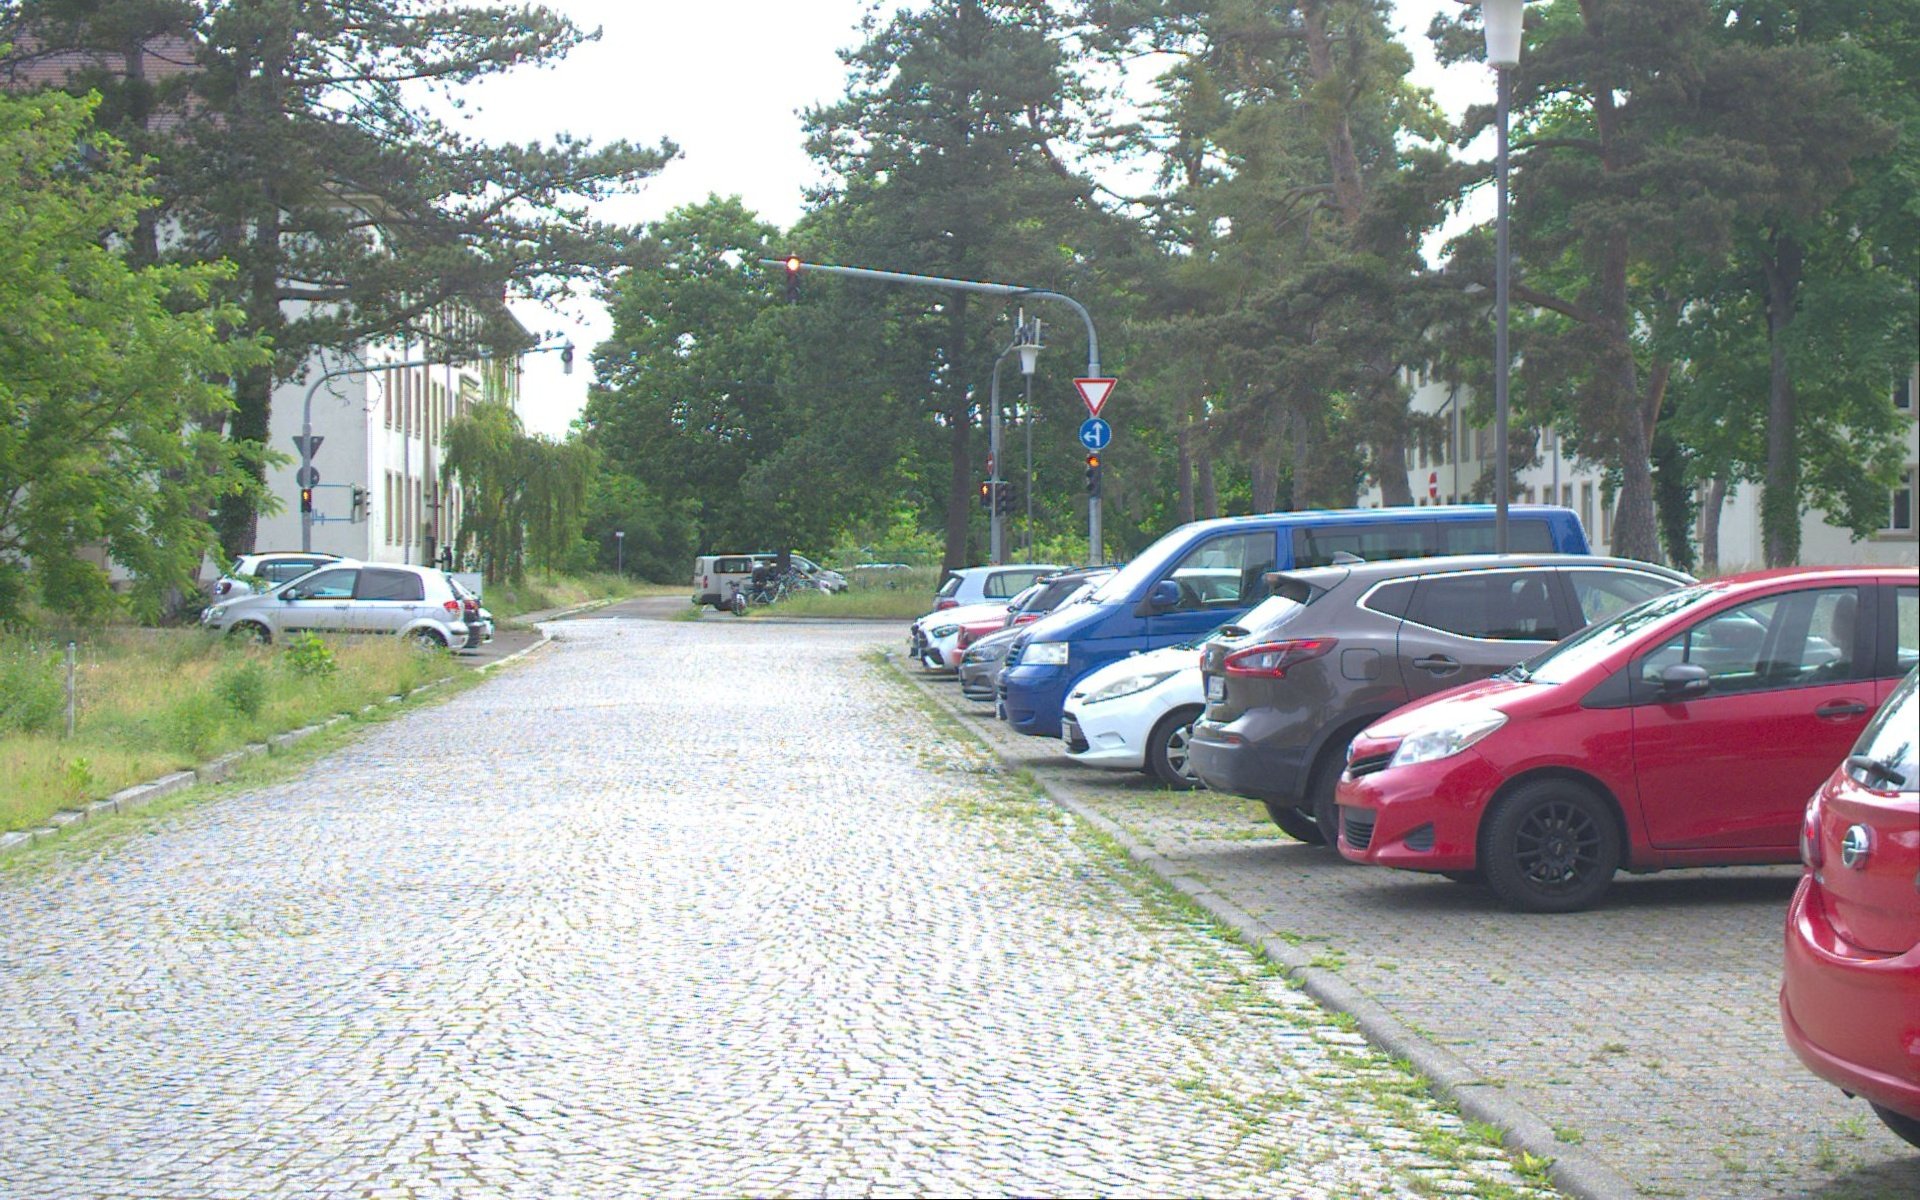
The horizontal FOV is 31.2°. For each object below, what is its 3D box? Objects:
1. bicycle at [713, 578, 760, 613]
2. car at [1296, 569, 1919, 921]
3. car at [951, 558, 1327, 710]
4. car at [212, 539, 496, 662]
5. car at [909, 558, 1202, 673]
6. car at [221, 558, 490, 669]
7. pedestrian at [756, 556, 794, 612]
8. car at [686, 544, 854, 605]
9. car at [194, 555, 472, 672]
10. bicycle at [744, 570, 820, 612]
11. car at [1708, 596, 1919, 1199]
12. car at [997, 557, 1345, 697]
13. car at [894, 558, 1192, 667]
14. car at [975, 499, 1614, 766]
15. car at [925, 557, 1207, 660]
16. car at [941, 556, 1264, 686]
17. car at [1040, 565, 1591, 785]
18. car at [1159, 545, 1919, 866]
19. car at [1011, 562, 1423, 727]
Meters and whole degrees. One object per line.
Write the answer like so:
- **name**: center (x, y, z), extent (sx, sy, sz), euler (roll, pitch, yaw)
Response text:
- **bicycle**: center (-6.224, -0.137, 95.705), extent (0.620, 0.942, 1.663), euler (1, 1, -31)
- **car**: center (3.580, 0.609, 15.833), extent (3.791, 1.455, 1.751), euler (-1, 0, -3)
- **car**: center (1.812, 0.339, 35.446), extent (3.671, 1.444, 1.524), euler (-1, 0, -5)
- **car**: center (-9.640, -0.003, 54.932), extent (4.262, 1.834, 1.744), euler (-1, 0, -4)
- **car**: center (1.244, 0.192, 45.662), extent (3.671, 1.416, 1.524), euler (-1, 0, -8)
- **car**: center (-9.105, 0.190, 51.970), extent (3.821, 1.567, 1.564), euler (-1, 0, -4)
- **pedestrian**: center (-5.392, -0.473, 100.166), extent (1.033, 1.608, 0.758), euler (1, 0, -8)
- **car**: center (-6.513, -0.874, 117.698), extent (5.444, 2.007, 2.269), euler (1, 0, -12)
- **car**: center (-8.997, 0.179, 49.555), extent (3.821, 1.567, 1.565), euler (-1, 0, -6)
- **bicycle**: center (-5.172, -0.263, 99.837), extent (2.136, 1.210, 0.622), euler (1, 0, -8)
- **car**: center (3.945, 0.693, 8.251), extent (3.825, 1.455, 1.779), euler (-1, 0, -4)
- **car**: center (2.326, 0.290, 38.466), extent (3.671, 1.444, 1.524), euler (-1, 0, -5)
- **car**: center (1.152, 0.165, 48.517), extent (3.967, 1.416, 1.620), euler (-1, 0, -8)
- **car**: center (2.599, 0.235, 27.416), extent (4.753, 1.948, 1.932), euler (-1, 0, -5)
- **car**: center (1.558, 0.117, 51.193), extent (3.967, 1.416, 1.620), euler (-1, 0, -8)
- **car**: center (1.679, 0.238, 41.141), extent (3.671, 1.444, 1.524), euler (-1, 0, -5)
- **car**: center (2.516, 0.516, 24.817), extent (3.671, 1.444, 1.615), euler (-1, 0, -6)
- **car**: center (3.214, 0.521, 18.468), extent (4.028, 1.547, 1.751), euler (-1, 0, -6)
- **car**: center (2.408, 0.402, 32.695), extent (3.671, 1.444, 1.524), euler (-1, 0, -5)
